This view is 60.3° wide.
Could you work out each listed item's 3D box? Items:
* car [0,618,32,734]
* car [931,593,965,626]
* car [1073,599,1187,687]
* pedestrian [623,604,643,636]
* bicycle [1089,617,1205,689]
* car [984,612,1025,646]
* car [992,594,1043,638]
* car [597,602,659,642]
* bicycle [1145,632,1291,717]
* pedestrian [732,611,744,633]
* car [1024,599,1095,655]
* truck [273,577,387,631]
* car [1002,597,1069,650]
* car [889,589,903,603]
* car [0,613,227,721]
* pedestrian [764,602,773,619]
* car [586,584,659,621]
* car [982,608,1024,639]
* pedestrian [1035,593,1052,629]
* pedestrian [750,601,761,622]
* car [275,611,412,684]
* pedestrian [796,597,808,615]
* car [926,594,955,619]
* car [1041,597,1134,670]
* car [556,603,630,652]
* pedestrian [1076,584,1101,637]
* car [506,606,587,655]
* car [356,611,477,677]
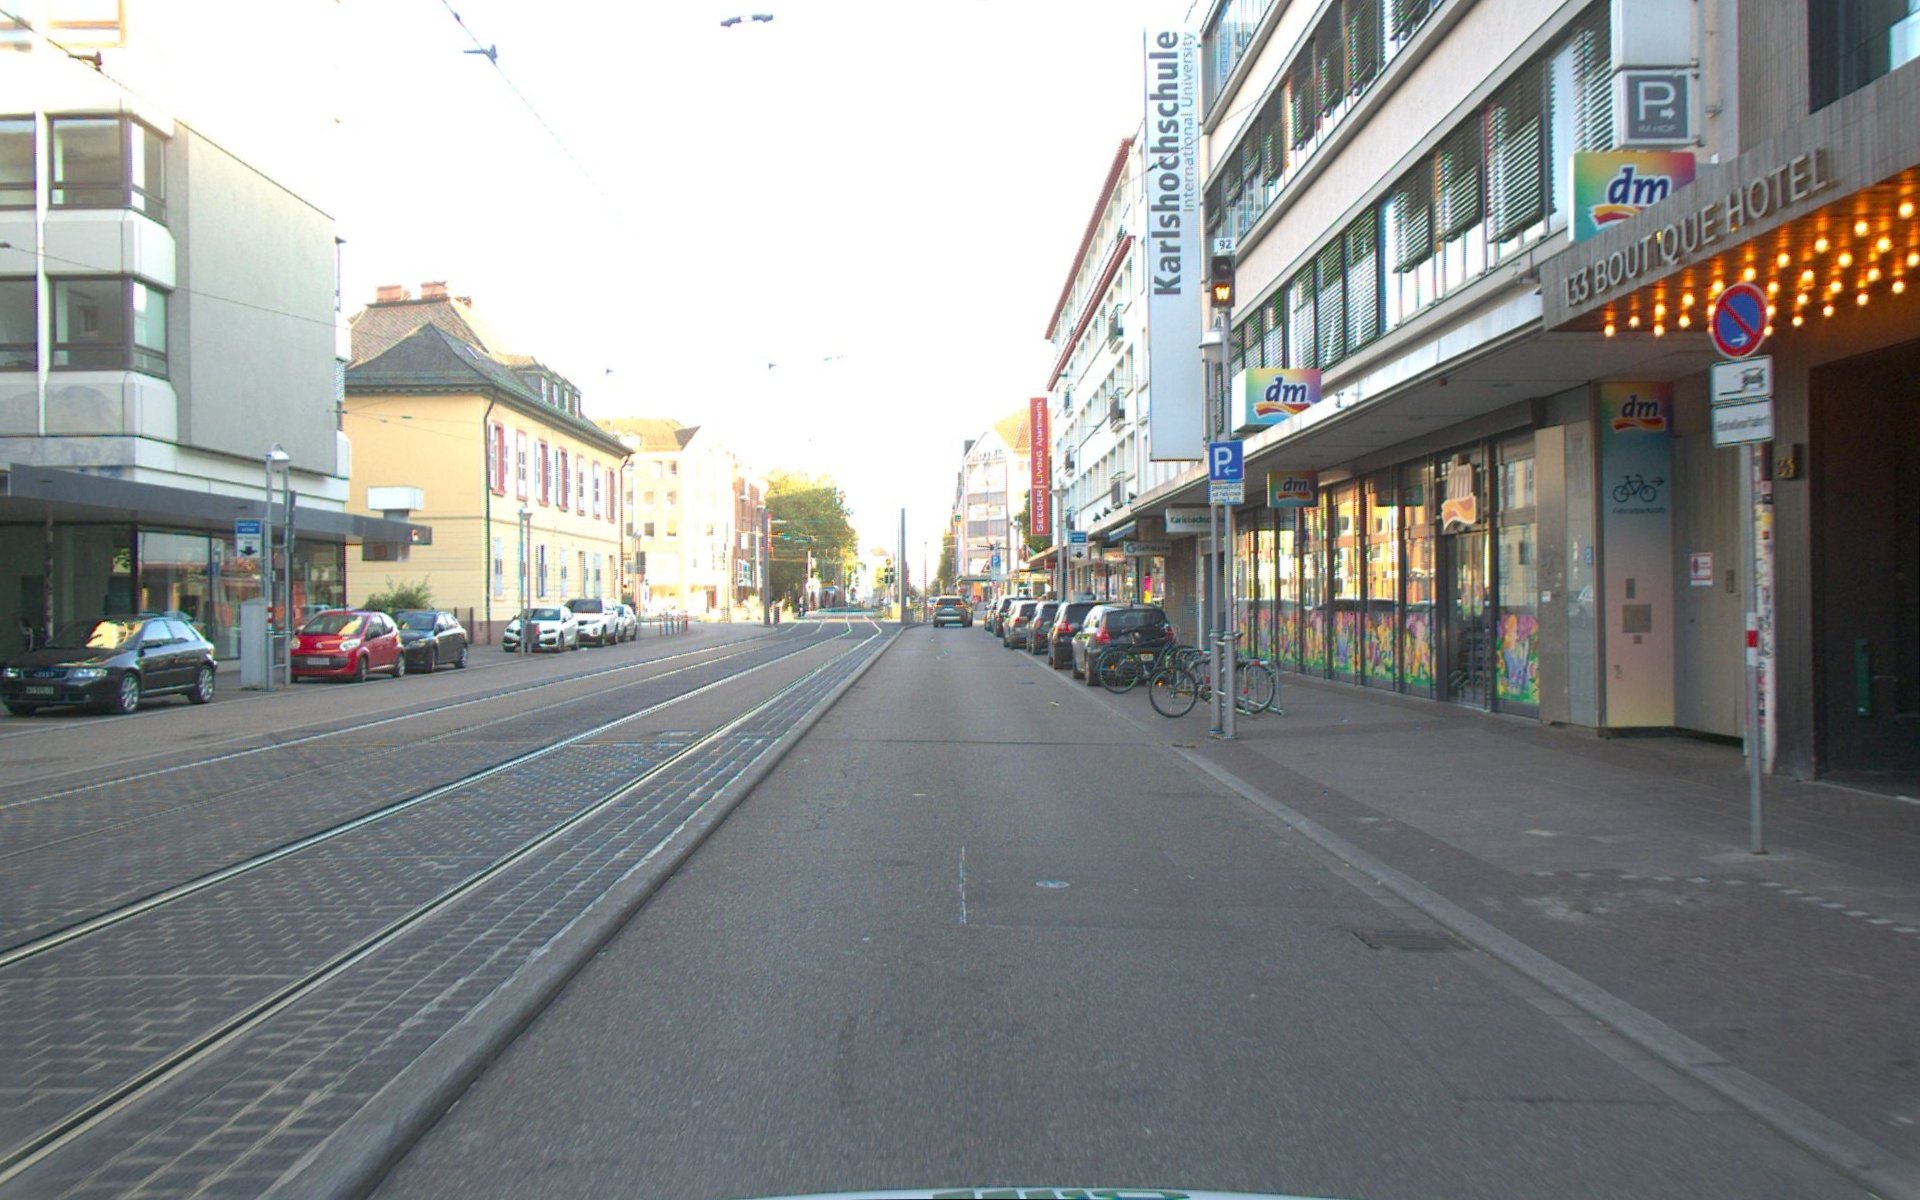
[{"bbox_3d":[-12.919,0.924,19.114,1.834,1.452,4.570,1,-1,-1],"label":"car"},{"bbox_3d":[-0.639,0.522,90.281,1.797,1.665,4.090,-2,-2,0],"label":"car"},{"bbox_3d":[3.075,0.756,30.626,1.621,1.488,4.021,1,-1,-1],"label":"car"},{"bbox_3d":[-16.362,1.007,82.669,0.783,1.569,0.877,1,-1,1],"label":"pedestrian"},{"bbox_3d":[3.077,0.870,27.265,1.803,1.129,0.641,-1,-1,-4],"label":"bicycle"},{"bbox_3d":[1.967,1.261,73.934,1.617,1.445,4.190,1,-1,-1],"label":"car"},{"bbox_3d":[2.319,0.646,67.740,1.818,1.730,4.416,1,-1,-1],"label":"car"},{"bbox_3d":[-13.299,0.855,66.394,1.713,1.500,3.999,1,0,-1],"label":"car"},{"bbox_3d":[3.342,0.959,21.472,1.759,0.989,0.575,-3,0,-4],"label":"bicycle"},{"bbox_3d":[-14.416,1.446,107.387,0.650,1.399,0.651,-1,0,-4],"label":"pedestrian"},{"bbox_3d":[2.798,0.763,47.252,1.691,1.507,3.999,1,-1,-1],"label":"car"},{"bbox_3d":[-33.497,0.254,88.102,2.150,2.746,5.450,1,-1,33],"label":"truck"},{"bbox_3d":[2.360,0.730,52.792,1.755,1.560,4.855,1,-1,-2],"label":"car"},{"bbox_3d":[-9.334,-0.557,239.966,1.915,2.049,3.999,1,-1,-1],"label":"car"},{"bbox_3d":[-13.159,0.973,25.641,1.753,1.486,4.091,-1,0,0],"label":"car"},{"bbox_3d":[-23.168,1.312,200.137,1.071,2.049,1.162,1,-1,-3],"label":"pedestrian"},{"bbox_3d":[-19.352,0.139,94.823,3.924,2.049,1.990,-1,0,-18],"label":"car"},{"bbox_3d":[2.012,1.110,79.140,1.753,1.437,4.686,1,-1,-1],"label":"car"},{"bbox_3d":[3.765,0.506,74.632,0.718,1.601,0.966,-1,0,-2],"label":"pedestrian"},{"bbox_3d":[-13.290,0.754,107.584,0.650,1.399,0.651,0,0,-4],"label":"pedestrian"},{"bbox_3d":[-13.151,0.979,35.490,1.657,1.459,3.591,0,0,-1],"label":"car"},{"bbox_3d":[-12.305,0.490,128.796,0.885,1.399,0.853,-1,0,-4],"label":"pedestrian"},{"bbox_3d":[-1.443,0.513,122.605,1.953,1.623,3.999,-5,-2,-1],"label":"car"},{"bbox_3d":[2.845,0.740,37.719,1.729,1.540,4.071,1,-1,-1],"label":"car"},{"bbox_3d":[-13.373,0.964,60.533,1.849,1.690,4.758,1,0,-3],"label":"car"},{"bbox_3d":[4.698,0.382,60.352,0.759,1.913,0.934,-1,-1,-3],"label":"pedestrian"},{"bbox_3d":[-13.564,0.980,54.462,1.686,1.478,4.282,1,0,-1],"label":"car"},{"bbox_3d":[-13.171,1.023,40.290,1.657,1.450,3.964,2,0,-1],"label":"car"}]
